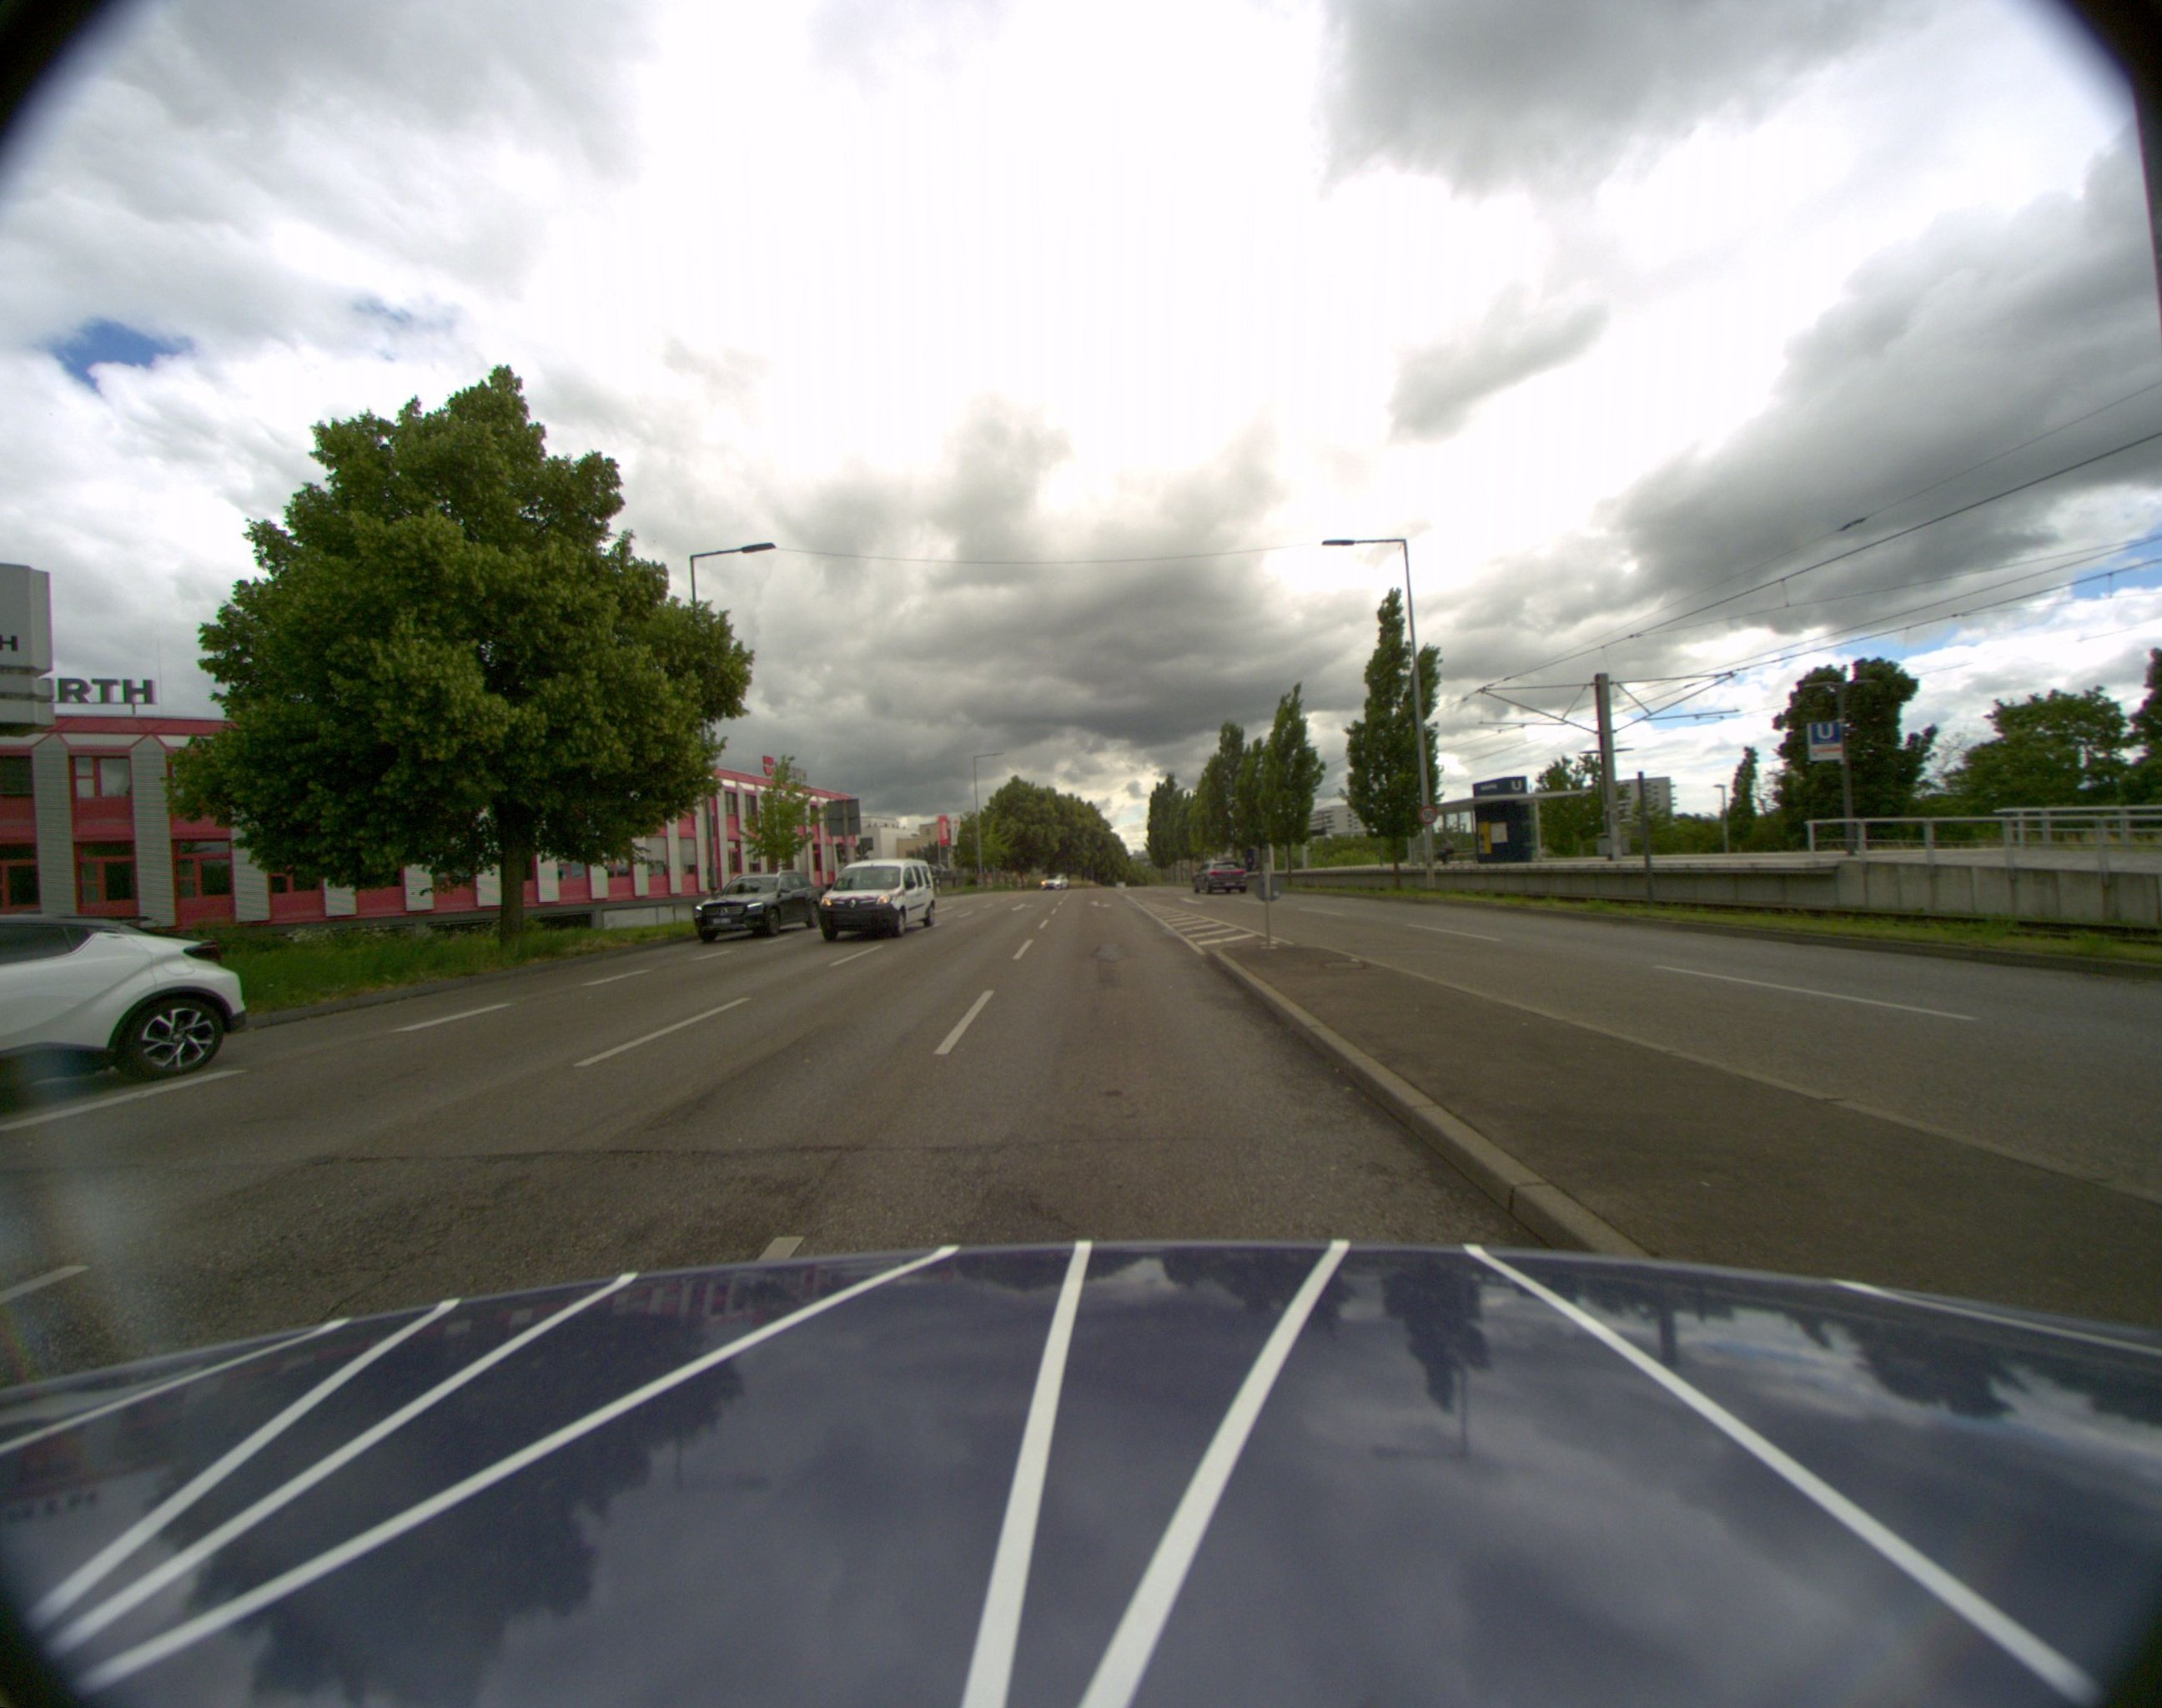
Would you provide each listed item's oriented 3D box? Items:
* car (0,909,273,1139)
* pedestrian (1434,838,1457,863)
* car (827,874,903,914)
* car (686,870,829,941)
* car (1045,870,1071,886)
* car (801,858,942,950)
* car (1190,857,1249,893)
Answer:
[{"bbox_3d":[-8.702,1.360,5.070,1.785,1.526,4.306,-5,0,3],"label":"car"},{"bbox_3d":[17.629,-0.176,36.734,0.663,1.195,0.782,-2,0,-7],"label":"pedestrian"},{"bbox_3d":[-8.464,1.553,30.108,1.785,1.434,3.836,-1,-2,1],"label":"car"},{"bbox_3d":[-8.418,1.297,20.235,1.785,1.639,4.427,-1,-2,1],"label":"car"},{"bbox_3d":[-2.120,2.291,71.714,1.784,1.353,4.484,-2,-3,6],"label":"car"},{"bbox_3d":[-4.858,1.063,18.419,1.999,1.791,4.838,-2,1,0],"label":"car"},{"bbox_3d":[6.592,0.963,36.494,1.783,1.537,4.223,-2,0,-3],"label":"car"}]
